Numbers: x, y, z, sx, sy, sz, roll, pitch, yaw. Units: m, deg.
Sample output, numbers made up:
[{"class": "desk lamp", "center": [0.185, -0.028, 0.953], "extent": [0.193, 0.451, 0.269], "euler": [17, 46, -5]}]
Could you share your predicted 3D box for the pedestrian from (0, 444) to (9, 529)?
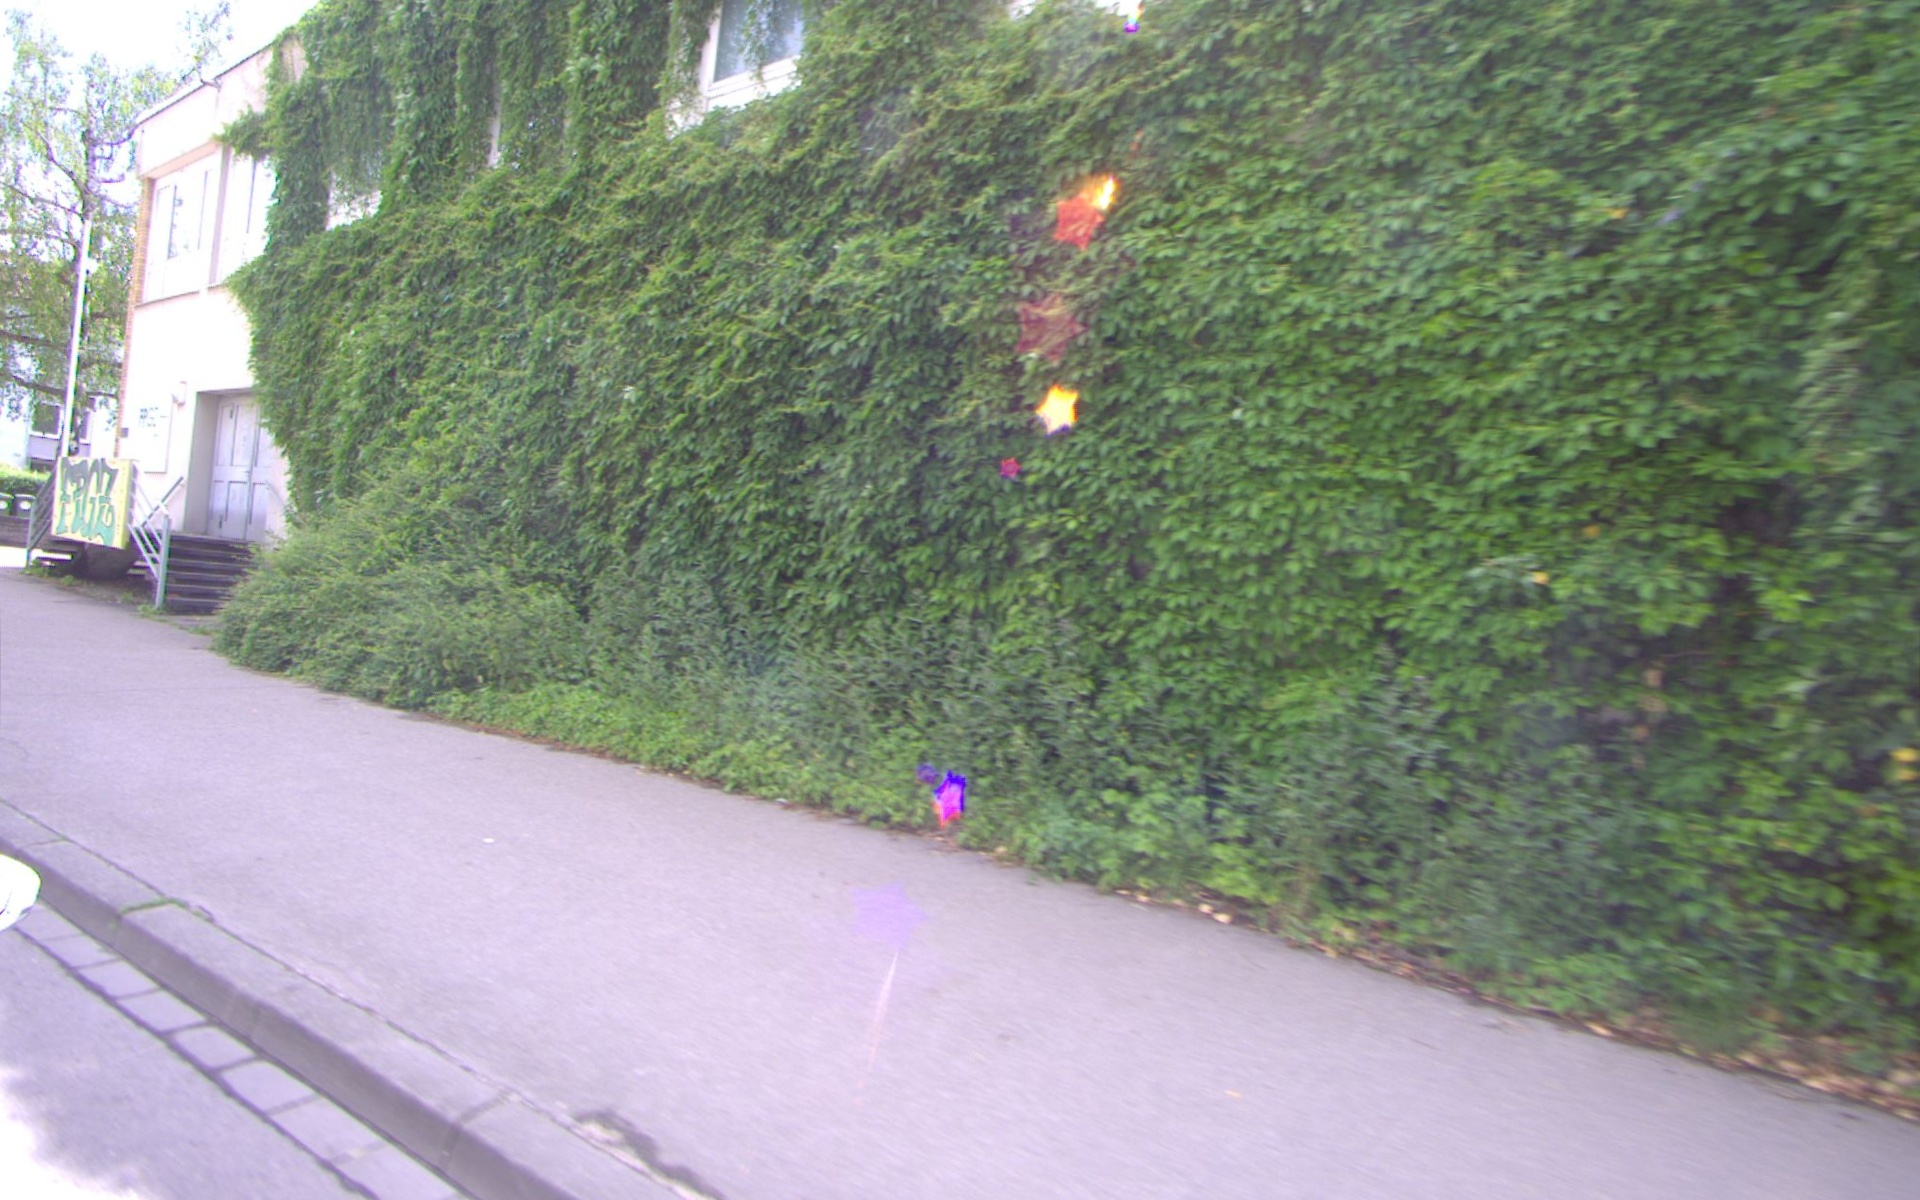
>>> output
[{"class": "pedestrian", "center": [-14.527, -1.428, 14.630], "extent": [0.805, 1.793, 0.808], "euler": [7, 0, 41]}]
